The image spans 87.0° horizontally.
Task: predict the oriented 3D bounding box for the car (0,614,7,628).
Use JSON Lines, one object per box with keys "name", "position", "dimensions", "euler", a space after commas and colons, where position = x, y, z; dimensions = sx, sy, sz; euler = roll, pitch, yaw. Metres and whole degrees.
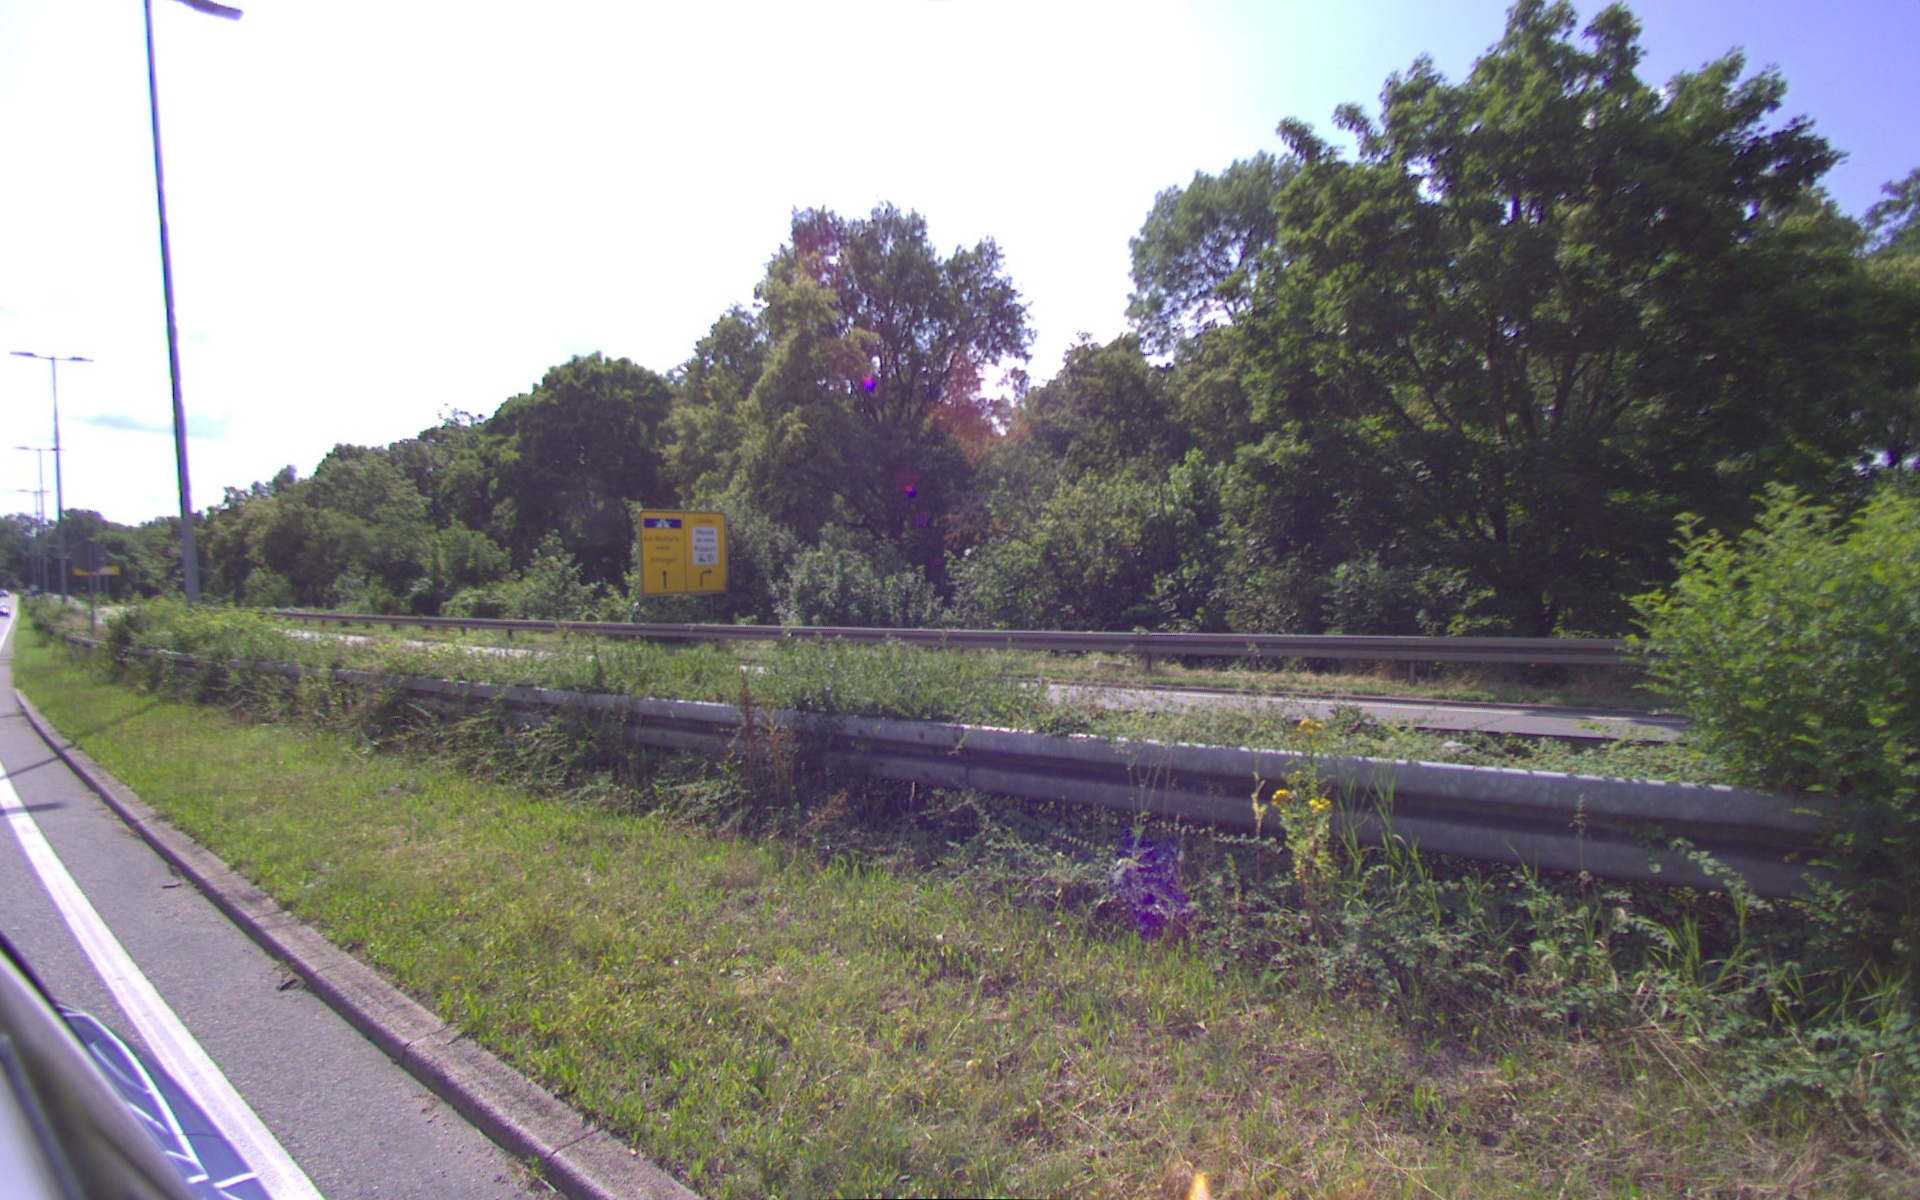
{"name": "car", "position": [-93.780, 2.058, 98.243], "dimensions": [1.771, 1.386, 4.004], "euler": [-2, 0, -42]}
